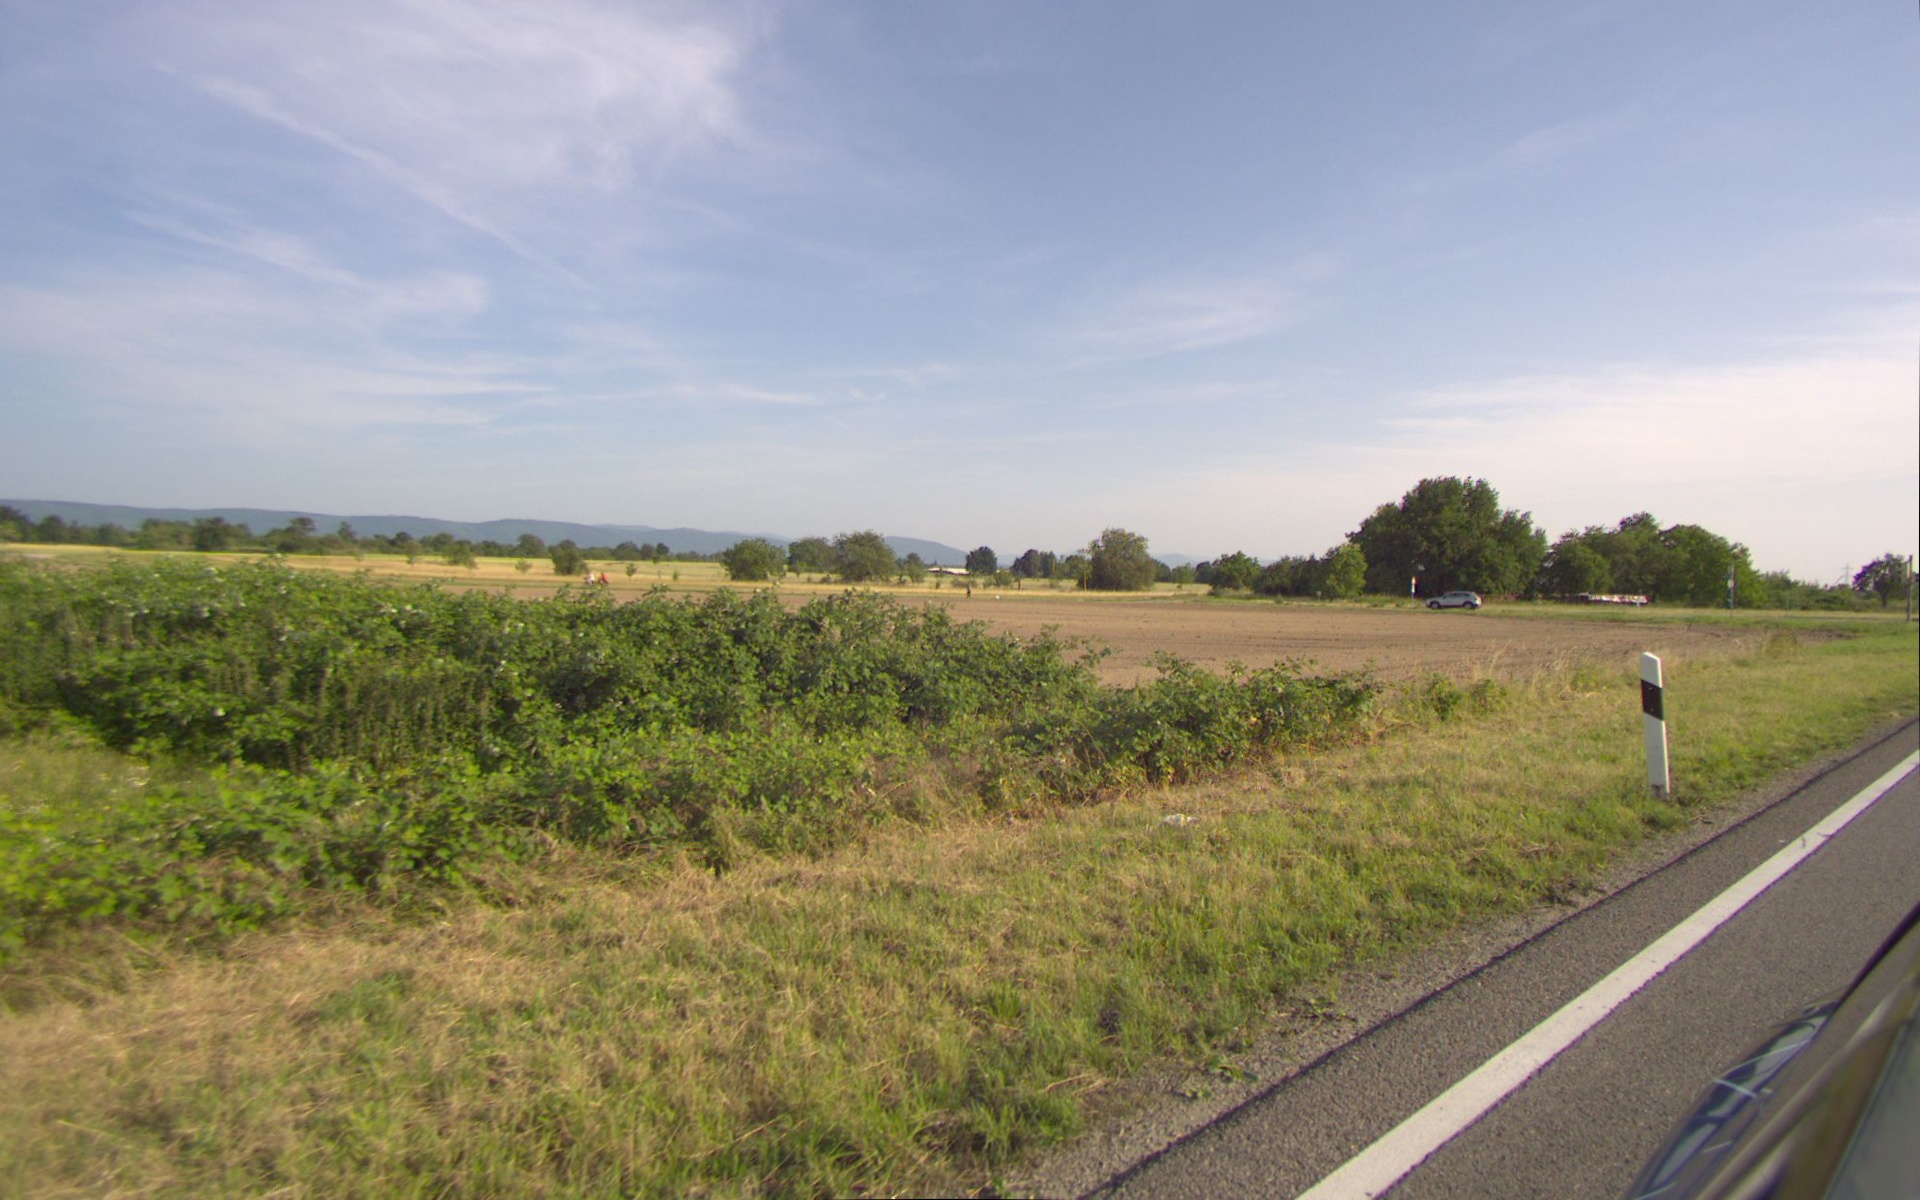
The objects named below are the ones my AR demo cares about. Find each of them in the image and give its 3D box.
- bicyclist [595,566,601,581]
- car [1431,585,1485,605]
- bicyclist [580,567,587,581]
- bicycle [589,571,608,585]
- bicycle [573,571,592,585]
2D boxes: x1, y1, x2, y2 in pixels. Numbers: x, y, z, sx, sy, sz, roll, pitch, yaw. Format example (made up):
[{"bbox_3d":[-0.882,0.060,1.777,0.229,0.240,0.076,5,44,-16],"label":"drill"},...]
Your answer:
[{"bbox_3d":[-40.966,-3.016,114.472,0.540,1.617,0.487,0,0,2],"label":"bicyclist"},{"bbox_3d":[43.289,-0.418,87.919,3.974,1.672,1.975,0,0,35],"label":"car"},{"bbox_3d":[-42.247,-2.906,113.621,0.540,1.617,0.487,0,0,2],"label":"bicyclist"},{"bbox_3d":[-40.923,-2.493,114.477,1.941,1.550,0.503,0,0,3],"label":"bicycle"},{"bbox_3d":[-42.413,-2.464,113.627,1.941,1.550,0.503,0,0,3],"label":"bicycle"}]
